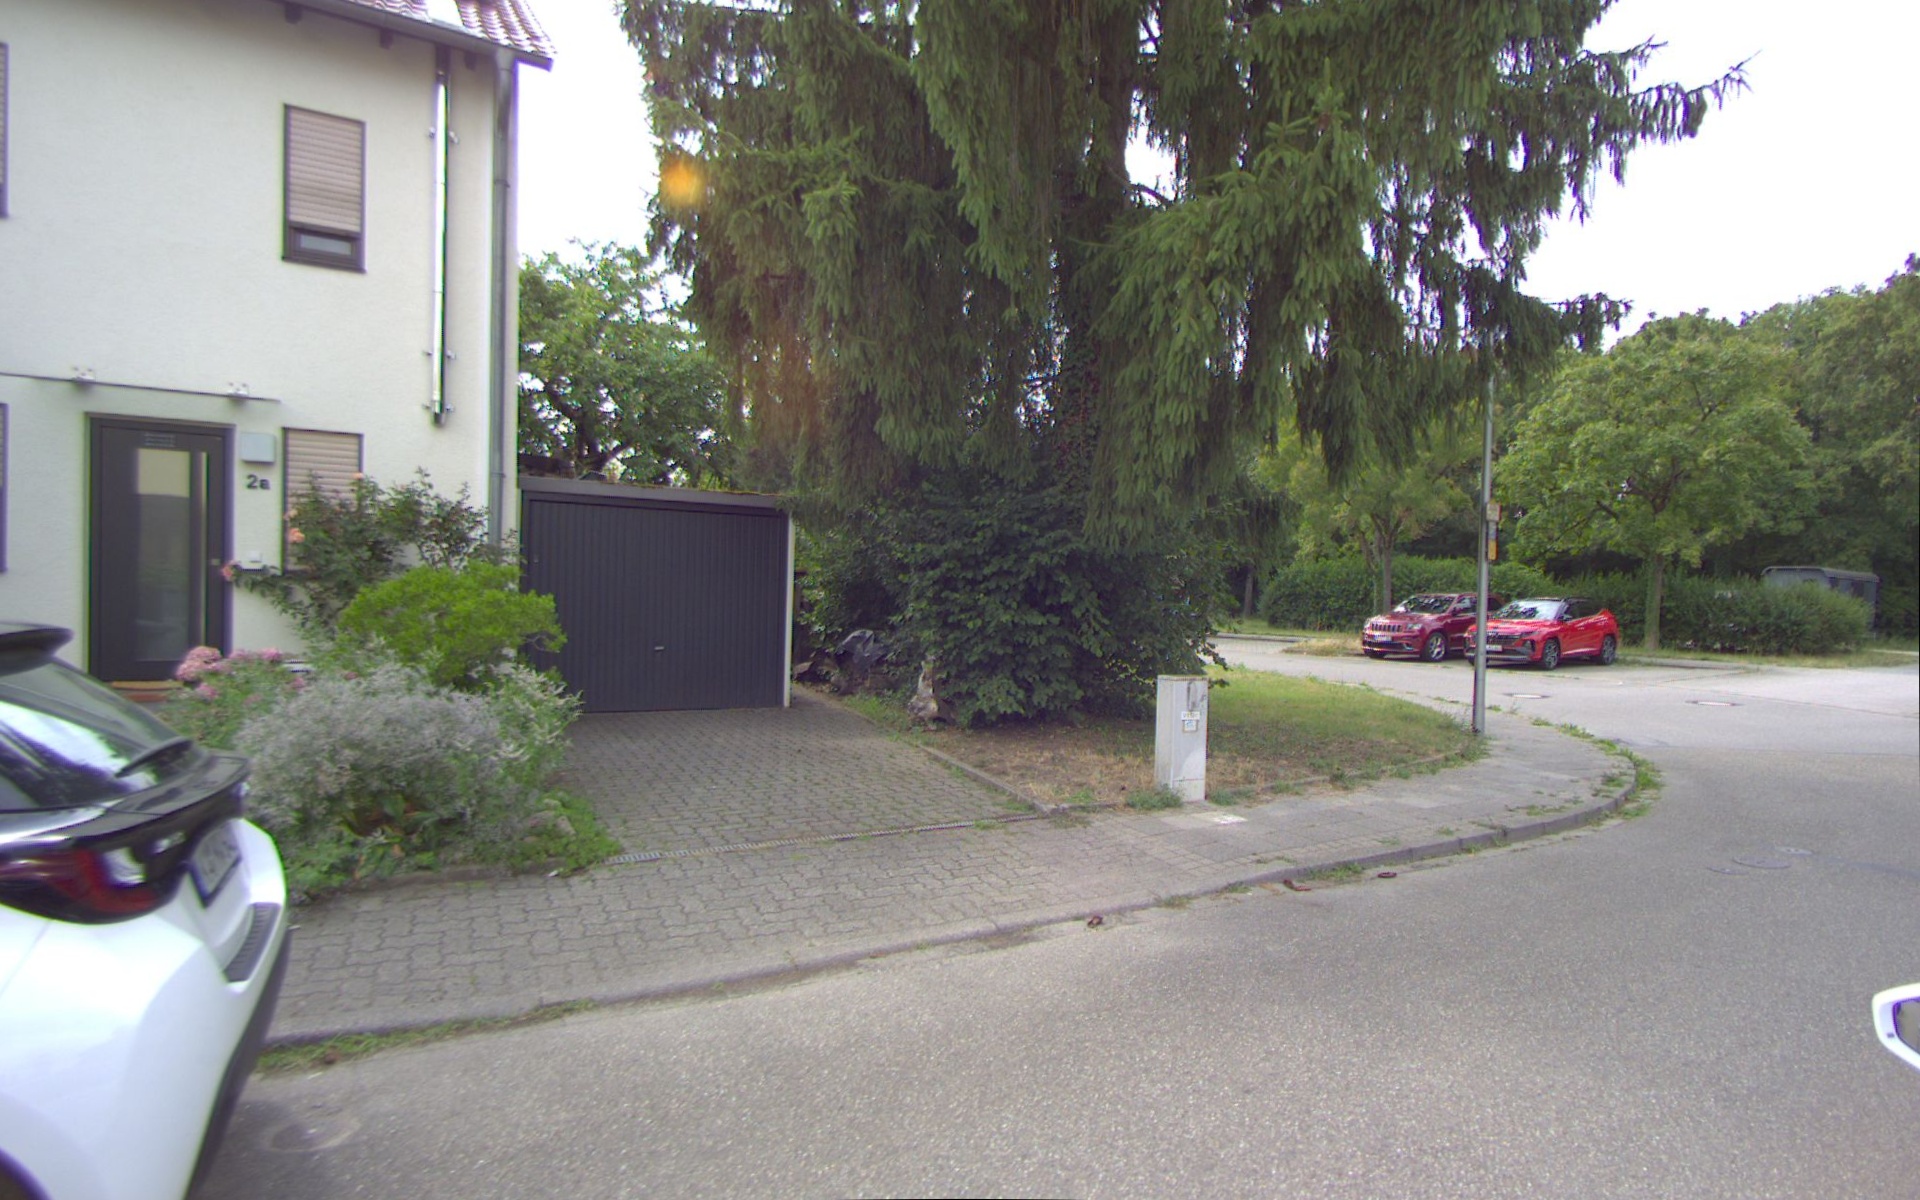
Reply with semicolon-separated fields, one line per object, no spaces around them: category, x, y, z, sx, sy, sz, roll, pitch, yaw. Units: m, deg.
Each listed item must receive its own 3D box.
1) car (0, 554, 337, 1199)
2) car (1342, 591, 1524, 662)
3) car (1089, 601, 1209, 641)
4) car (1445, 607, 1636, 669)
car;-3.454;0.670;1.560;4.089;1.551;1.784;1;0;-29
car;12.491;0.673;26.476;4.638;1.708;2.081;1;1;-30
car;7.045;0.777;37.546;3.940;1.413;1.990;1;0;-21
car;13.994;0.856;24.159;4.638;1.308;1.984;0;0;-30
